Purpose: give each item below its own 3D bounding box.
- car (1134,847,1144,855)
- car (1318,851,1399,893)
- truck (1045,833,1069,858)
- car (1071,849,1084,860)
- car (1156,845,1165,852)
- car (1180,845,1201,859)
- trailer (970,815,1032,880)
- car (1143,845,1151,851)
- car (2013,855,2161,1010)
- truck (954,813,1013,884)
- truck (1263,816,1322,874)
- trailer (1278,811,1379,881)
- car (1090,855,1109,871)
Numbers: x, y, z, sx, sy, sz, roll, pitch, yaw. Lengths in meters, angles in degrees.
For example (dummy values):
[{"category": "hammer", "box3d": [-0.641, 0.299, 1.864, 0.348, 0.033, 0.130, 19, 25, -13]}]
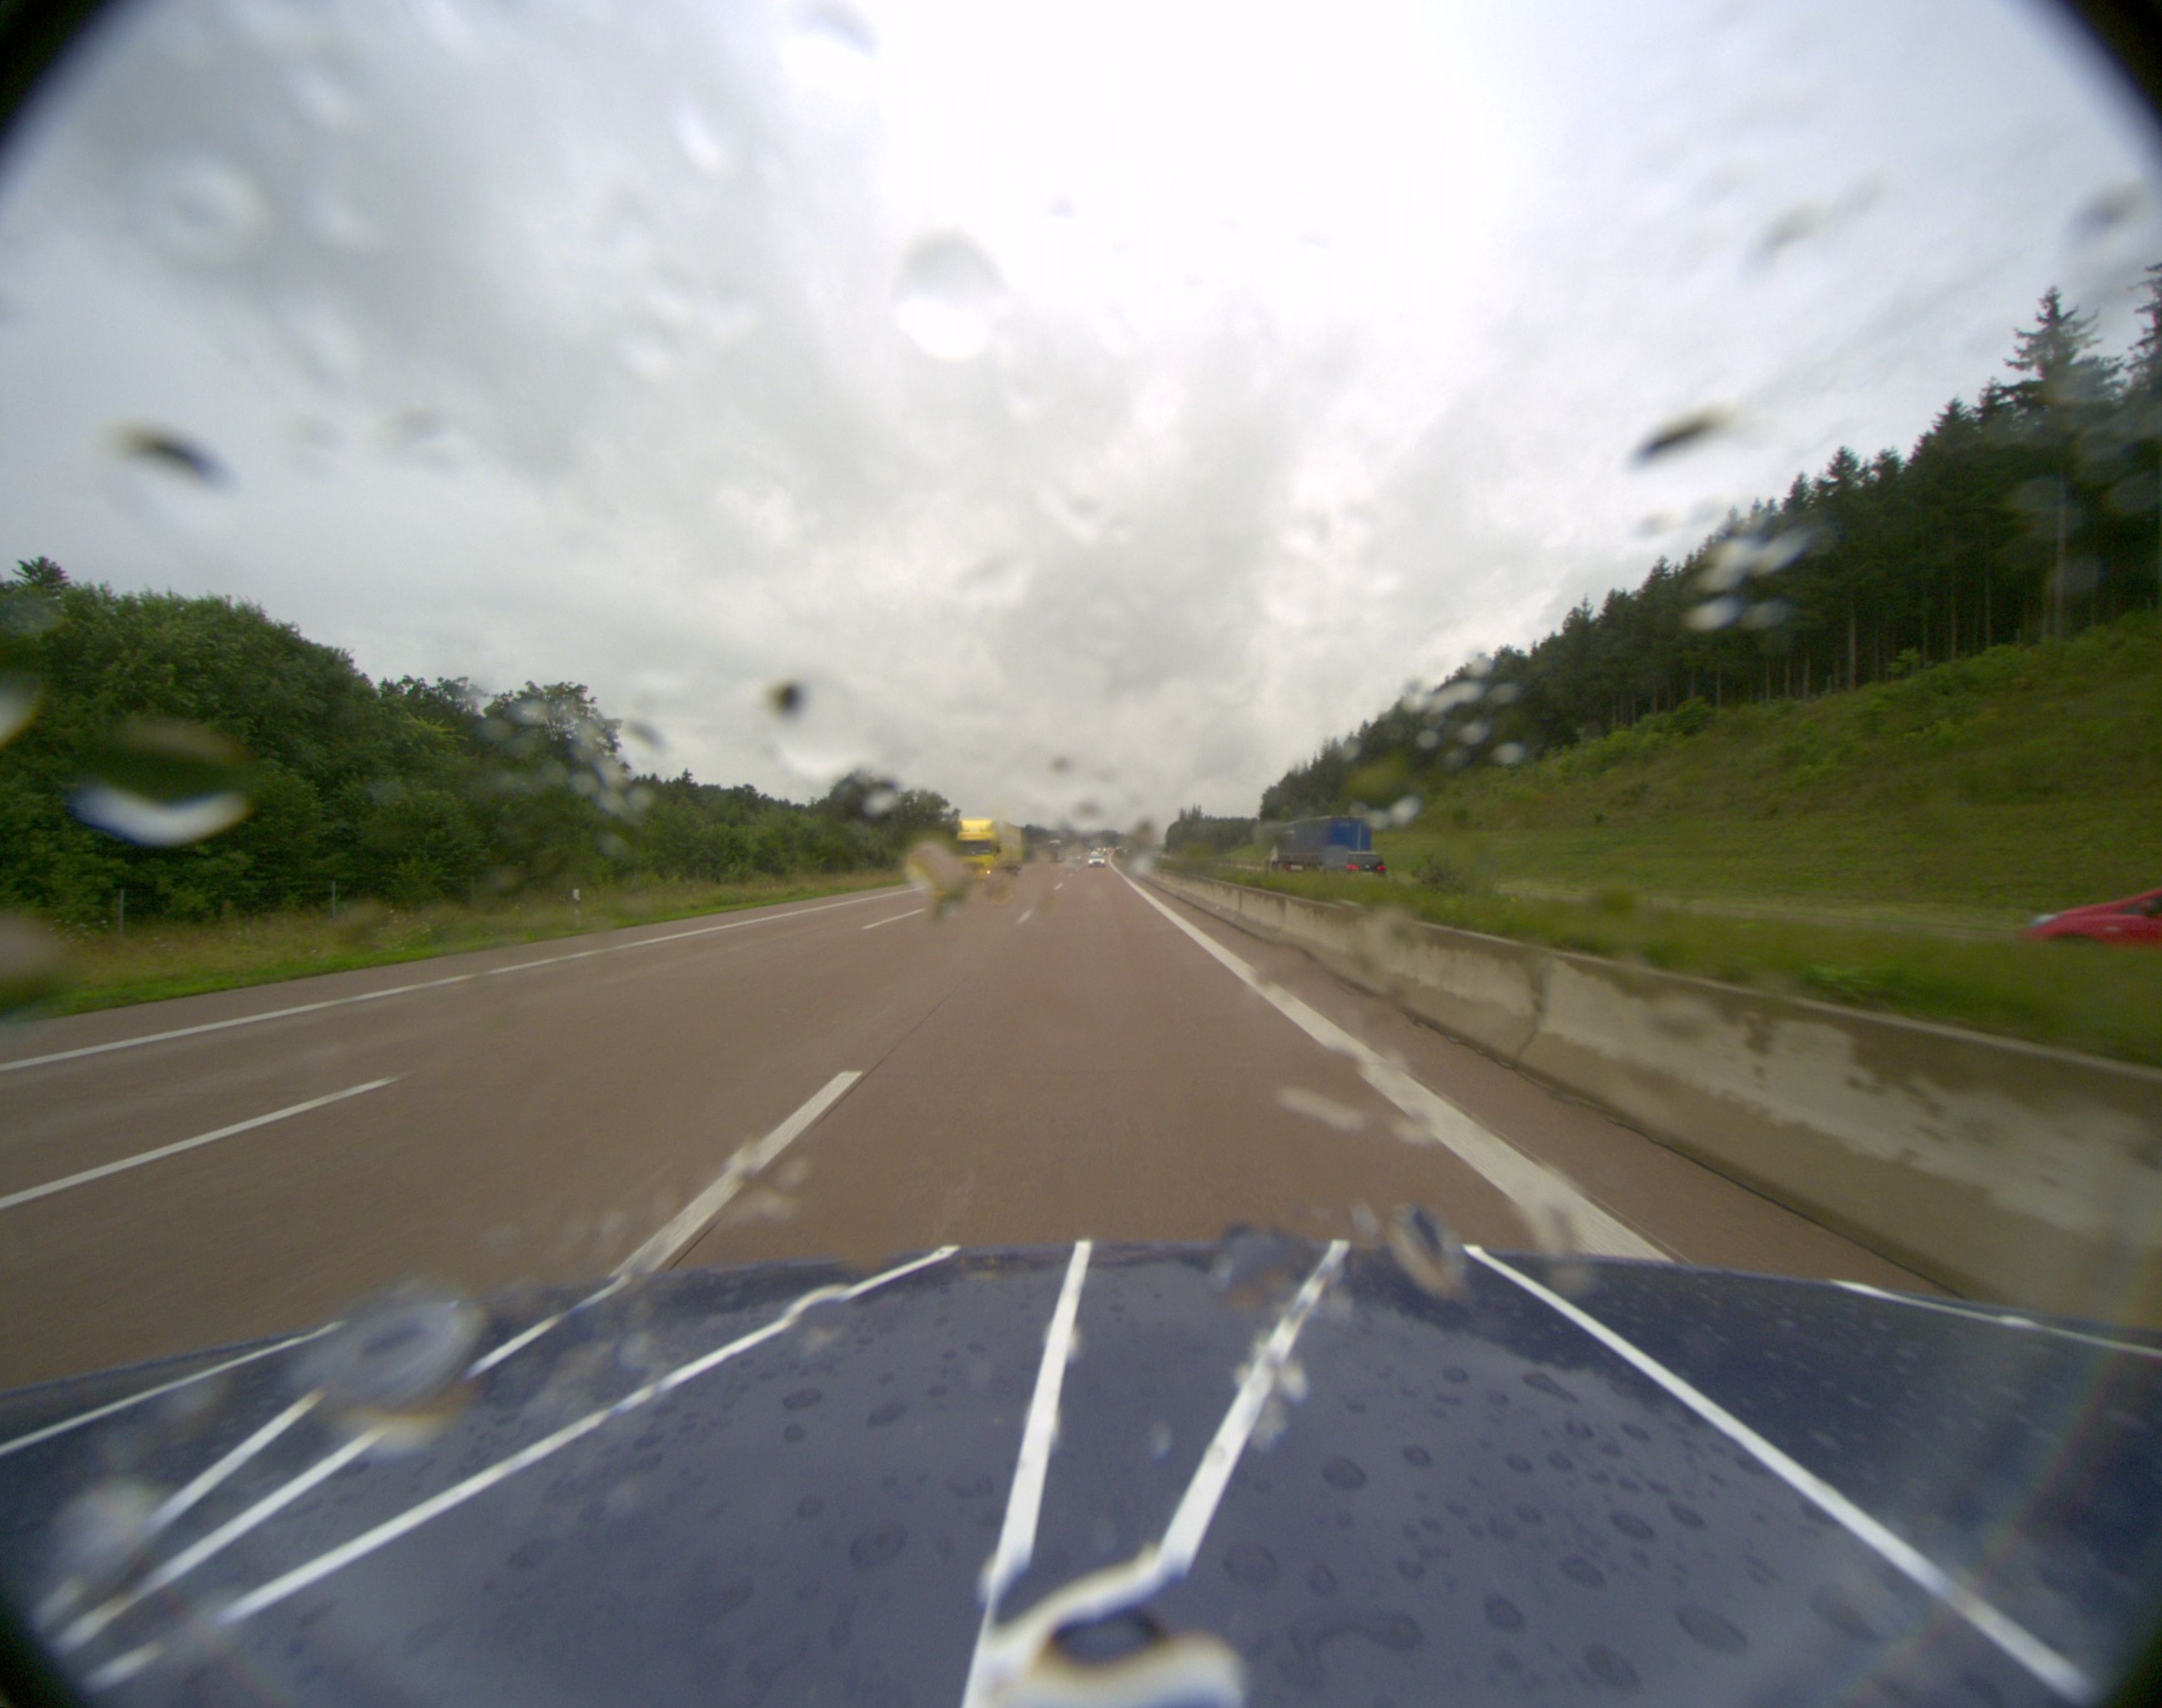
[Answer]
[{"category": "car", "box3d": [13.198, -0.634, 173.177, 2.053, 1.766, 5.324, -2, 1, 2]}, {"category": "car", "box3d": [12.649, 0.798, 35.024, 1.998, 1.756, 5.095, -1, 0, 2]}, {"category": "truck", "box3d": [-4.350, -1.600, 141.595, 3.190, 4.349, 14.703, -2, 1, 2]}, {"category": "car", "box3d": [-0.578, 0.062, 126.424, 1.998, 1.623, 4.931, -2, 1, 2]}, {"category": "car", "box3d": [18.553, -1.306, 177.131, 1.818, 1.713, 4.951, 0, 1, 2]}, {"category": "car", "box3d": [14.891, -0.295, 103.490, 2.053, 1.683, 6.383, -2, 1, 2]}, {"category": "trailer", "box3d": [-5.834, -0.559, 57.928, 2.571, 4.204, 14.079, -2, 1, 2]}, {"category": "car", "box3d": [19.263, -1.669, 220.982, 1.998, 1.710, 4.259, -2, 1, 2]}, {"category": "car", "box3d": [12.082, 0.842, 7.104, 1.730, 1.520, 4.116, -2, 1, 1]}, {"category": "truck", "box3d": [-6.148, -0.405, 48.939, 2.610, 4.190, 6.249, -2, 1, 2]}, {"category": "truck", "box3d": [17.355, -0.785, 62.792, 2.931, 4.365, 7.402, -1, 1, 1]}, {"category": "trailer", "box3d": [17.136, -0.607, 53.954, 2.926, 4.315, 13.578, -1, 1, 1]}, {"category": "car", "box3d": [2.101, 0.980, 85.145, 1.998, 1.623, 4.931, -2, 1, 2]}]
